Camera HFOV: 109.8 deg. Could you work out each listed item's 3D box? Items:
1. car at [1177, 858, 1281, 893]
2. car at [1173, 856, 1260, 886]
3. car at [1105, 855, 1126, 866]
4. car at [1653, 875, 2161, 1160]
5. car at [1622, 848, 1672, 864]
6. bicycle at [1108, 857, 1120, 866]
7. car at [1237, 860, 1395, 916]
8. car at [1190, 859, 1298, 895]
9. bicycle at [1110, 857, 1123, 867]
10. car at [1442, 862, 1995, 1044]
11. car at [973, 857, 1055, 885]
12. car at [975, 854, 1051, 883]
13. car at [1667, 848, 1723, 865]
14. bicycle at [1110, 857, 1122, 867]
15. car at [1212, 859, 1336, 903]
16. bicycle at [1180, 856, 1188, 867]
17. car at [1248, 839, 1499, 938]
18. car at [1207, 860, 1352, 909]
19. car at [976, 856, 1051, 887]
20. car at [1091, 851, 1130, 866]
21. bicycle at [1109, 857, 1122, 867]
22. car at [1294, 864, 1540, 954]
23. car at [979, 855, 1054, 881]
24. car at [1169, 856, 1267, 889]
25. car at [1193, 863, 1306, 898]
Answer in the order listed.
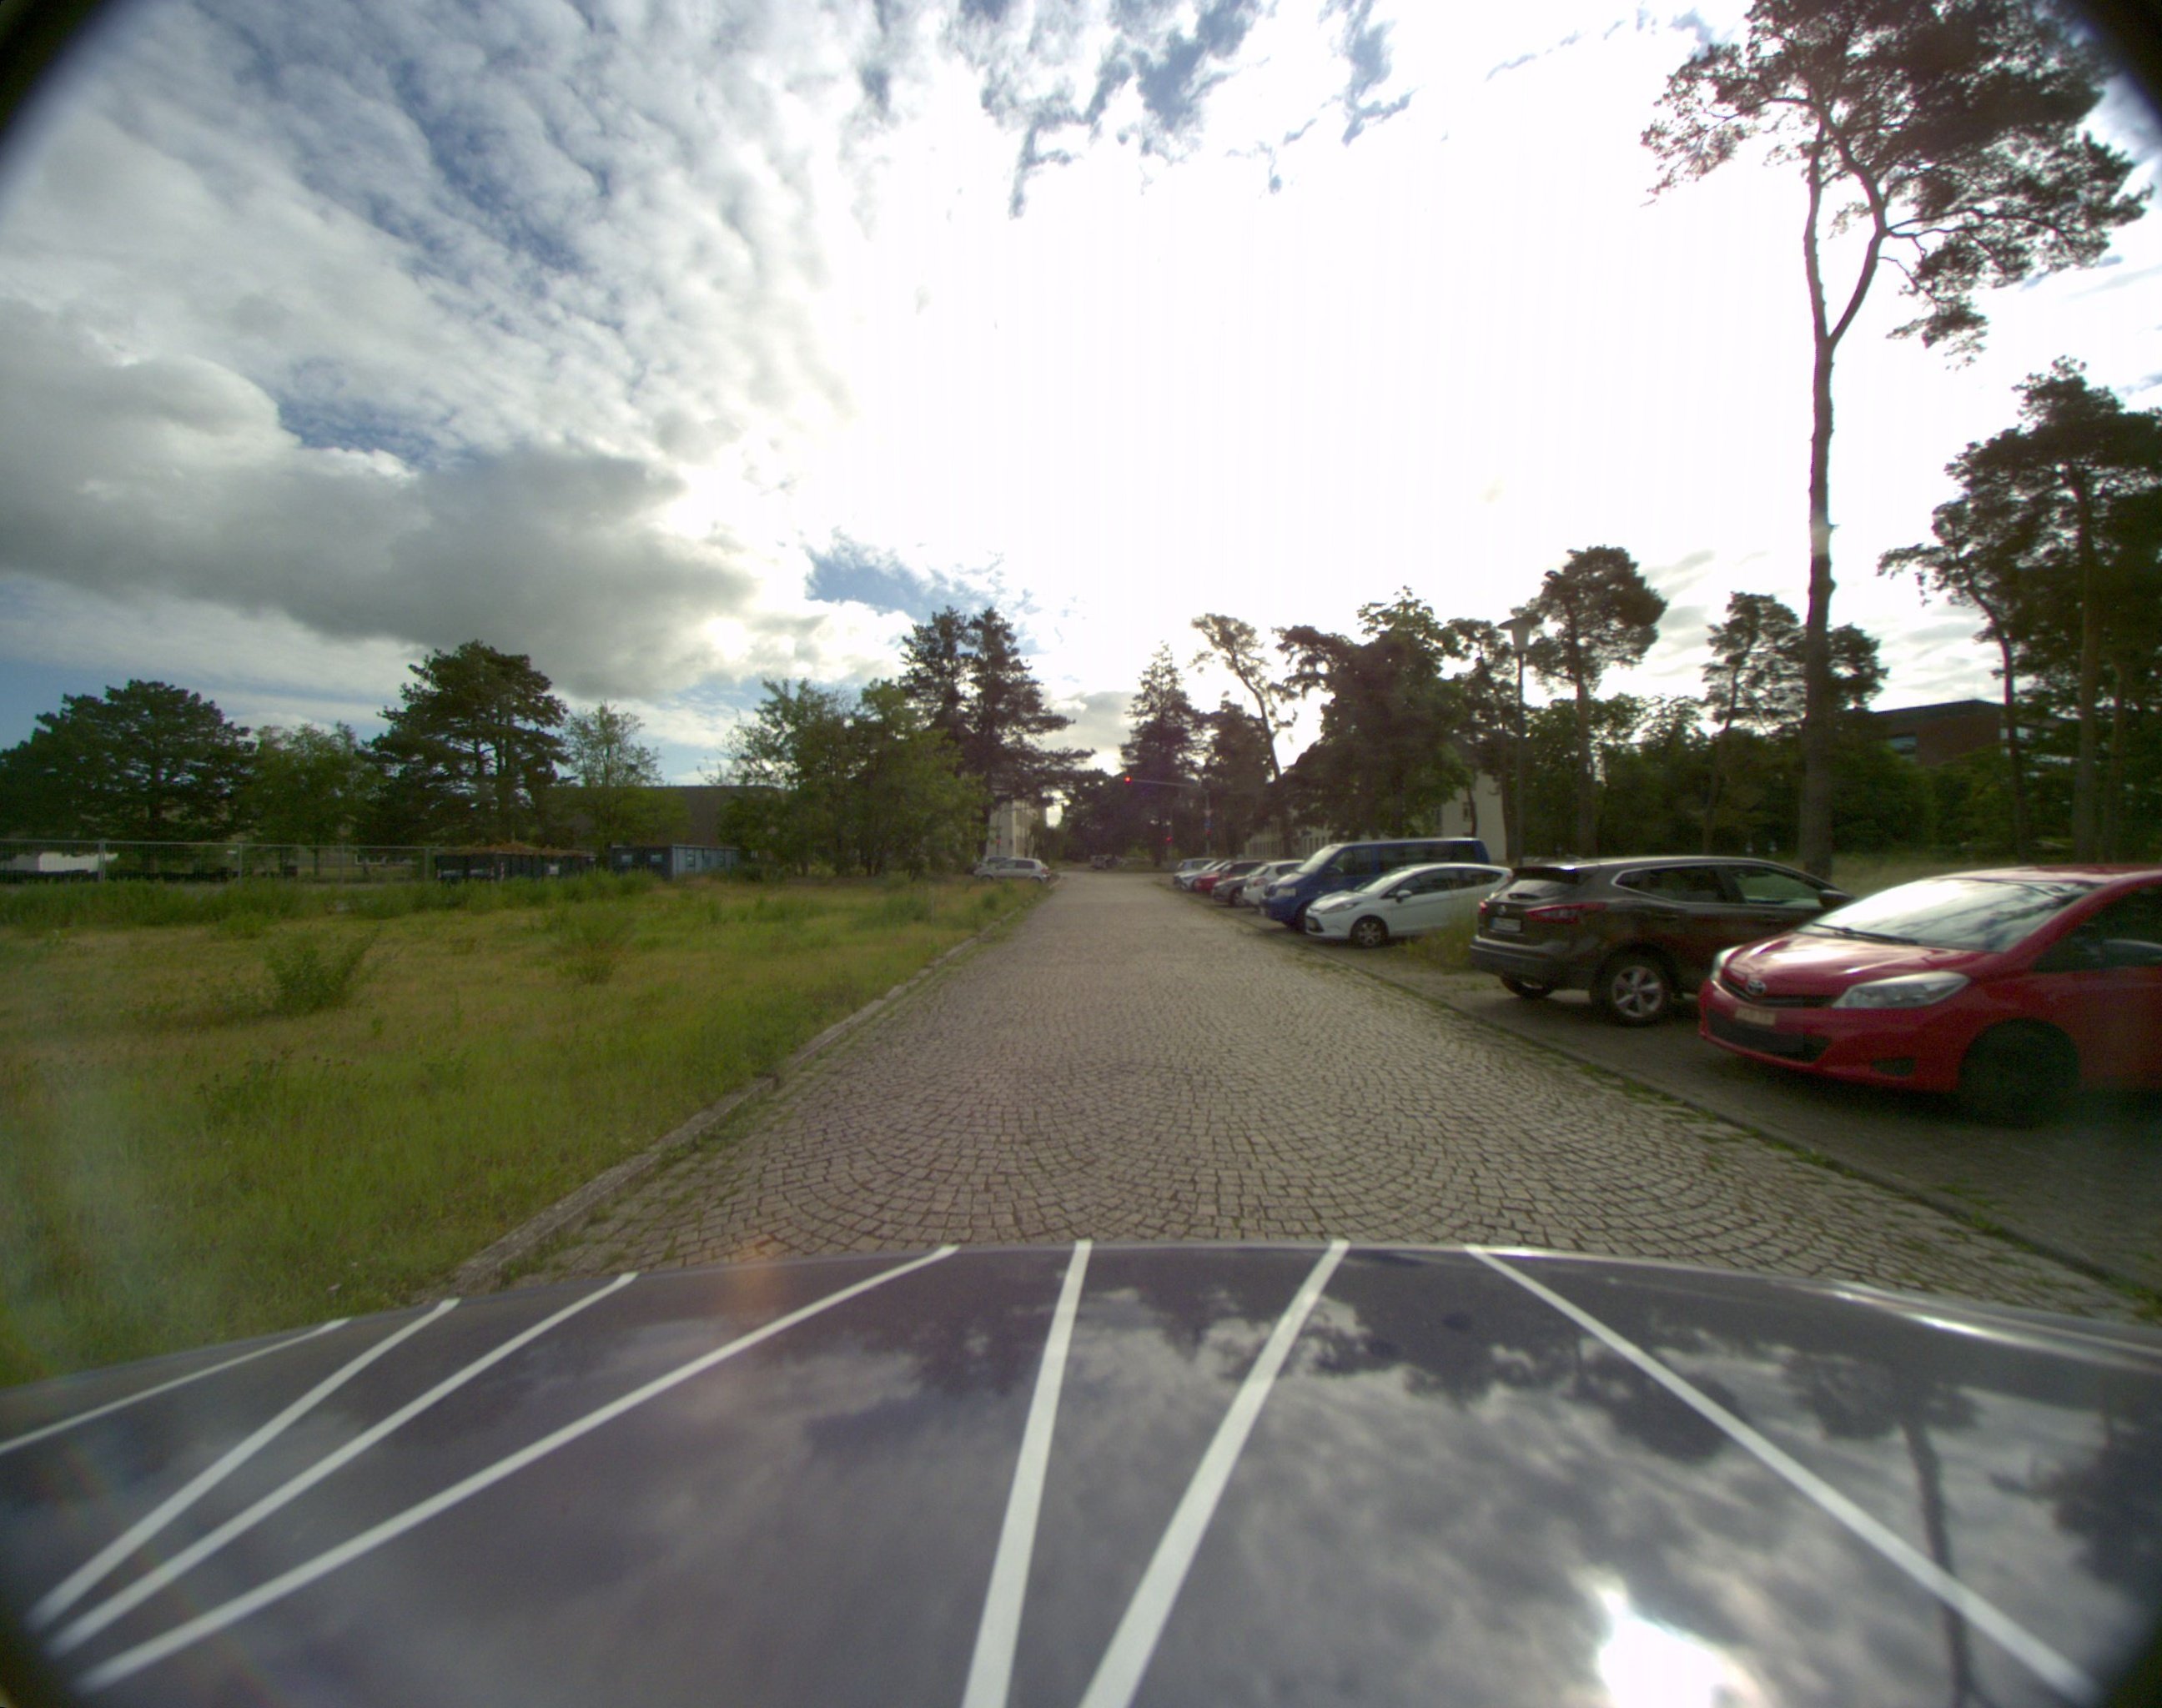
[{"bbox_3d":[6.771,0.978,35.151,4.447,1.447,1.949,-1,1,2],"label":"car"},{"bbox_3d":[7.176,0.906,40.457,4.339,1.462,1.827,-1,1,2],"label":"car"},{"bbox_3d":[4.693,0.864,104.054,2.771,1.407,1.592,-3,0,0],"label":"car"},{"bbox_3d":[6.404,0.929,5.069,3.825,1.477,1.761,-1,0,1],"label":"car"},{"bbox_3d":[60.851,0.254,81.716,4.053,1.601,1.717,-1,2,5],"label":"car"},{"bbox_3d":[4.162,0.949,96.002,1.457,1.032,0.497,-3,1,-4],"label":"bicycle"},{"bbox_3d":[6.703,0.954,22.025,4.014,1.493,1.843,-1,0,3],"label":"car"},{"bbox_3d":[6.967,0.959,32.836,4.264,1.447,1.855,-1,0,1],"label":"car"},{"bbox_3d":[4.241,0.955,91.118,1.457,1.032,0.497,-3,1,-4],"label":"bicycle"},{"bbox_3d":[6.244,0.906,7.859,4.078,1.566,1.954,-1,0,0],"label":"car"},{"bbox_3d":[-3.714,0.947,42.483,4.377,1.397,1.796,2,-1,-1],"label":"car"},{"bbox_3d":[-4.034,0.849,45.177,4.342,1.565,1.826,2,1,-4],"label":"car"},{"bbox_3d":[60.022,0.248,74.323,4.054,1.601,1.716,-1,2,3],"label":"car"},{"bbox_3d":[4.221,0.947,91.703,1.457,1.032,0.497,-3,1,-4],"label":"bicycle"},{"bbox_3d":[6.972,0.962,27.771,4.097,1.472,1.755,-1,0,2],"label":"car"},{"bbox_3d":[10.408,0.709,76.879,0.497,1.068,1.416,-3,1,-2],"label":"bicycle"},{"bbox_3d":[6.273,0.719,16.730,4.721,1.969,2.038,-1,0,0],"label":"car"},{"bbox_3d":[6.409,0.978,24.897,4.314,1.472,1.731,-1,0,3],"label":"car"},{"bbox_3d":[-3.489,0.899,39.777,3.782,1.471,1.743,2,-1,-2],"label":"car"},{"bbox_3d":[4.171,0.643,107.398,5.172,1.905,2.034,-3,0,-13],"label":"car"},{"bbox_3d":[4.023,0.942,89.290,1.457,1.032,0.497,-3,1,-7],"label":"bicycle"},{"bbox_3d":[6.133,0.974,14.172,3.803,1.484,1.726,-1,0,-1],"label":"car"},{"bbox_3d":[-3.976,0.859,47.754,4.562,1.417,1.826,2,1,-2],"label":"car"},{"bbox_3d":[6.782,0.902,37.836,4.513,1.528,1.870,-1,1,-2],"label":"car"},{"bbox_3d":[6.671,1.057,30.459,4.141,1.276,1.764,-1,0,1],"label":"car"}]
